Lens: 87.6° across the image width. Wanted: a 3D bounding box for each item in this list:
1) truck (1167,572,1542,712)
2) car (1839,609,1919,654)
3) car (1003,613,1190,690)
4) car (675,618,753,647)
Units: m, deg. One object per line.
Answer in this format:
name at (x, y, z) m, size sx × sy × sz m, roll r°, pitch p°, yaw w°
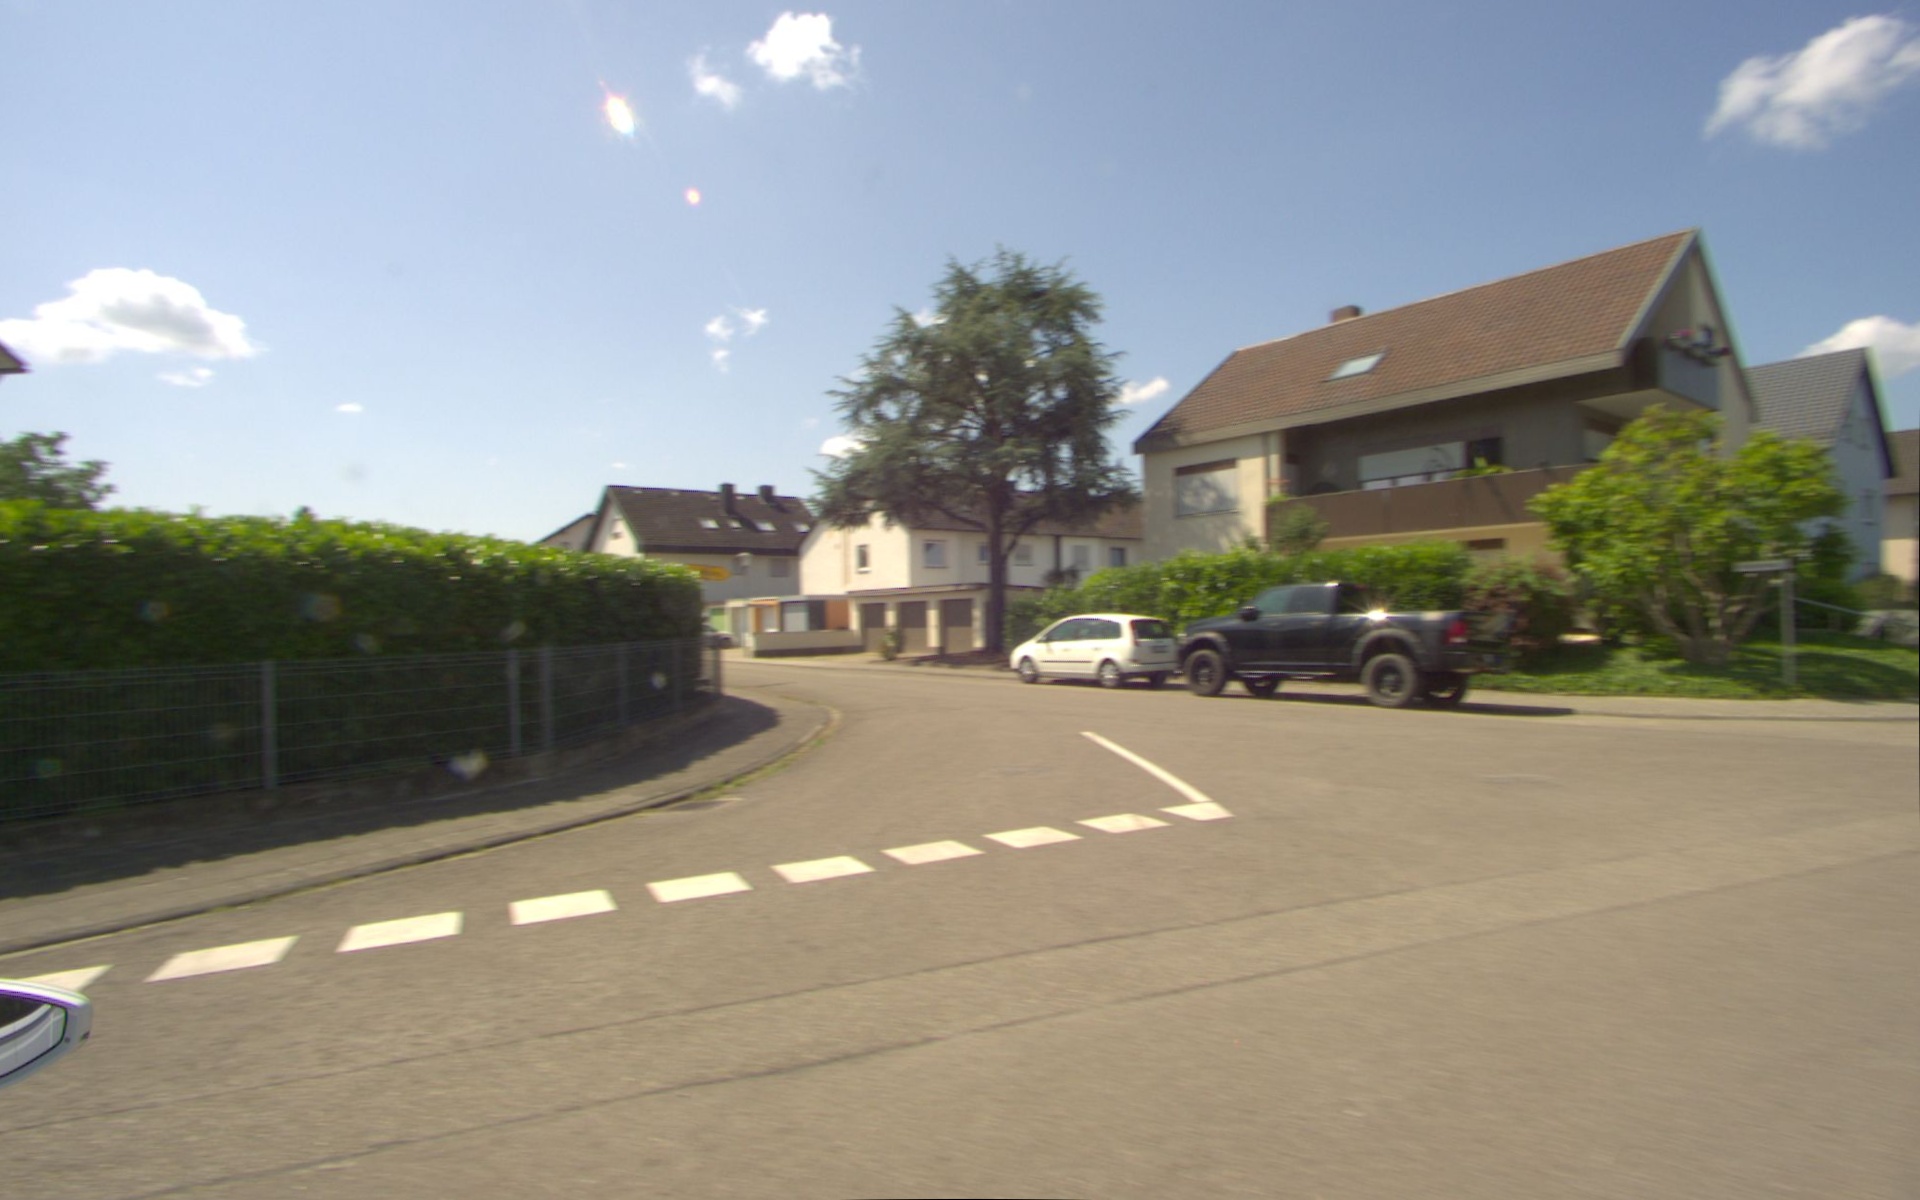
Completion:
truck at (6.638, 0.759, 17.491) m, size 2.347 × 2.038 × 5.664 m, roll 5°, pitch -4°, yaw -40°
car at (30.535, 0.979, 31.587) m, size 1.977 × 1.359 × 3.968 m, roll 0°, pitch -1°, yaw -39°
car at (3.018, 1.118, 22.834) m, size 1.783 × 1.583 × 4.109 m, roll 0°, pitch -1°, yaw -40°
car at (-12.945, 1.682, 52.695) m, size 3.568 × 1.427 × 1.770 m, roll 0°, pitch -1°, yaw -38°
